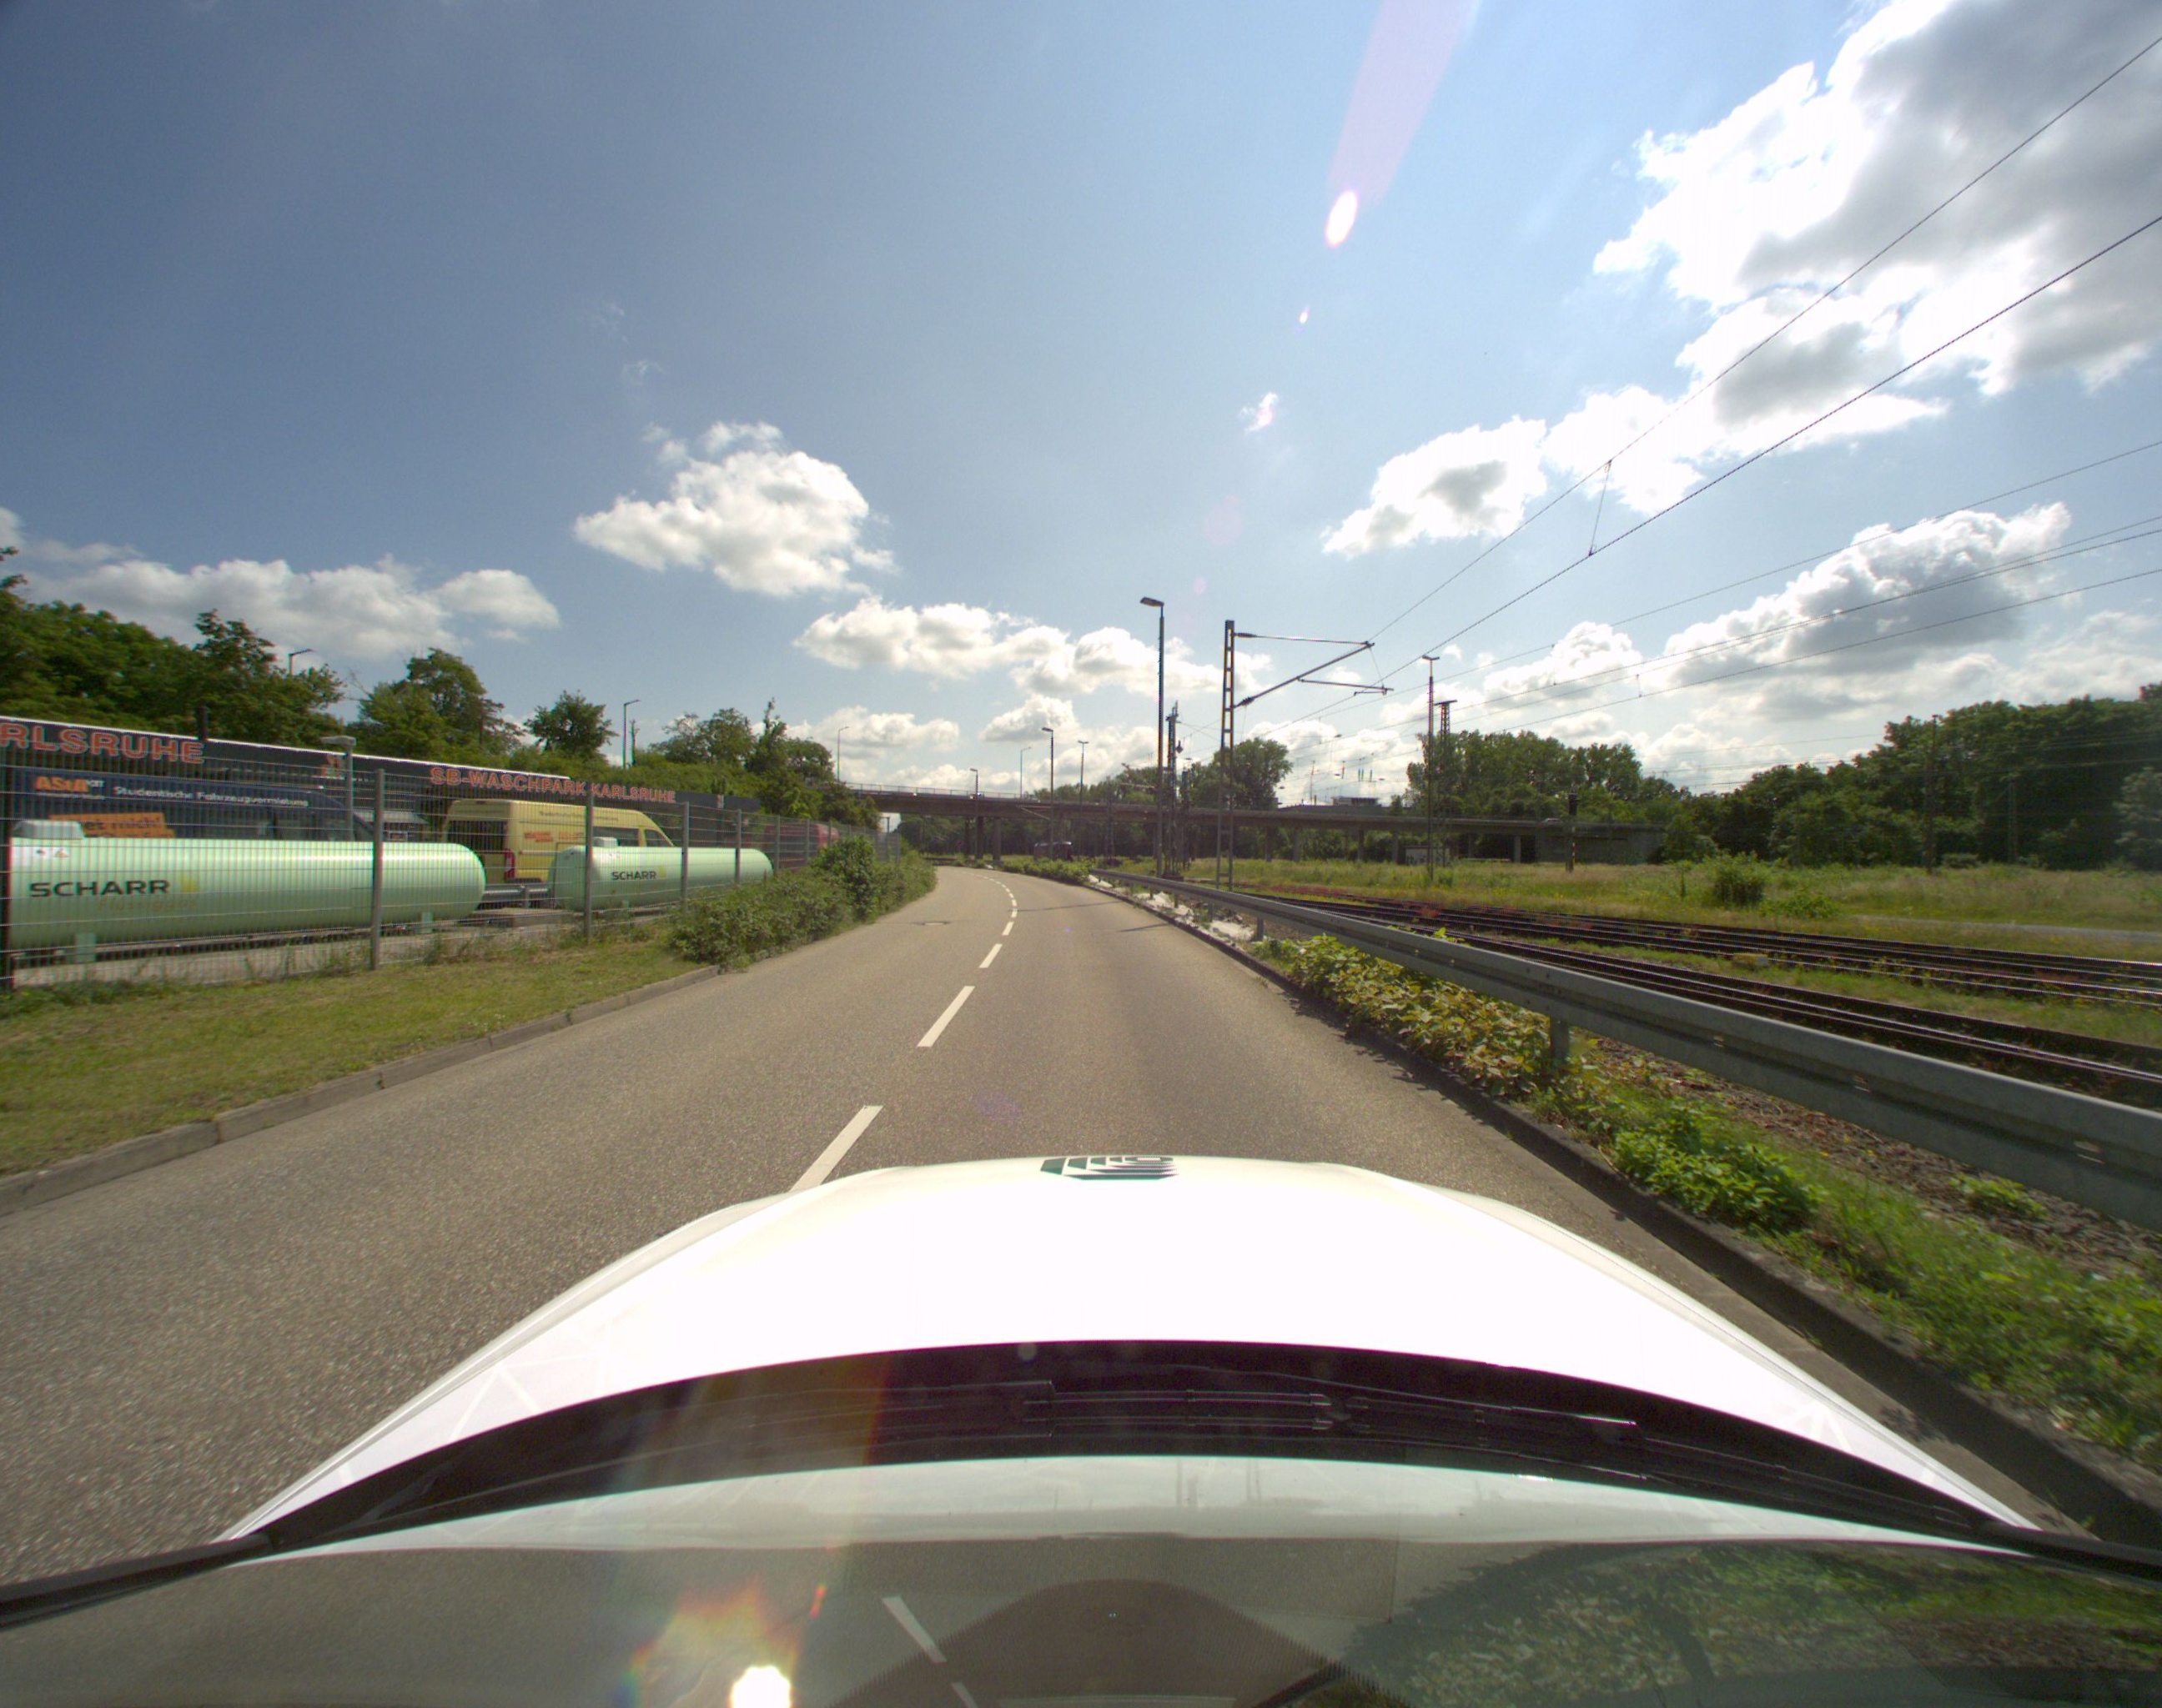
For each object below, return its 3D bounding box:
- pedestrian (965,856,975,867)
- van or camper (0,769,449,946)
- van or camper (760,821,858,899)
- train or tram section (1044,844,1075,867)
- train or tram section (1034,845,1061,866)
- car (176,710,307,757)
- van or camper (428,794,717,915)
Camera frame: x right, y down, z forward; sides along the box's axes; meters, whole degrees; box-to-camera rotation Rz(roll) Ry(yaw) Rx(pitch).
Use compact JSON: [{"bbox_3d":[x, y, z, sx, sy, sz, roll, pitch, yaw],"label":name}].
[{"bbox_3d":[-15.772,1.116,115.983,1.113,1.540,1.569,1,-1,-19],"label":"pedestrian"},{"bbox_3d":[-13.389,0.073,12.895,1.859,2.217,5.132,0,-1,18],"label":"van or camper"},{"bbox_3d":[-9.868,0.191,30.087,2.186,2.514,5.689,-2,0,-6],"label":"van or camper"},{"bbox_3d":[-3.531,0.258,129.248,2.896,3.509,8.519,0,-1,-16],"label":"train or tram section"},{"bbox_3d":[-5.721,0.251,137.320,2.761,3.477,8.195,0,-1,-16],"label":"train or tram section"},{"bbox_3d":[-51.805,-7.373,50.378,1.974,2.014,5.371,-3,-1,33],"label":"car"},{"bbox_3d":[-11.671,0.050,19.372,2.224,2.425,5.685,0,-1,18],"label":"van or camper"}]
